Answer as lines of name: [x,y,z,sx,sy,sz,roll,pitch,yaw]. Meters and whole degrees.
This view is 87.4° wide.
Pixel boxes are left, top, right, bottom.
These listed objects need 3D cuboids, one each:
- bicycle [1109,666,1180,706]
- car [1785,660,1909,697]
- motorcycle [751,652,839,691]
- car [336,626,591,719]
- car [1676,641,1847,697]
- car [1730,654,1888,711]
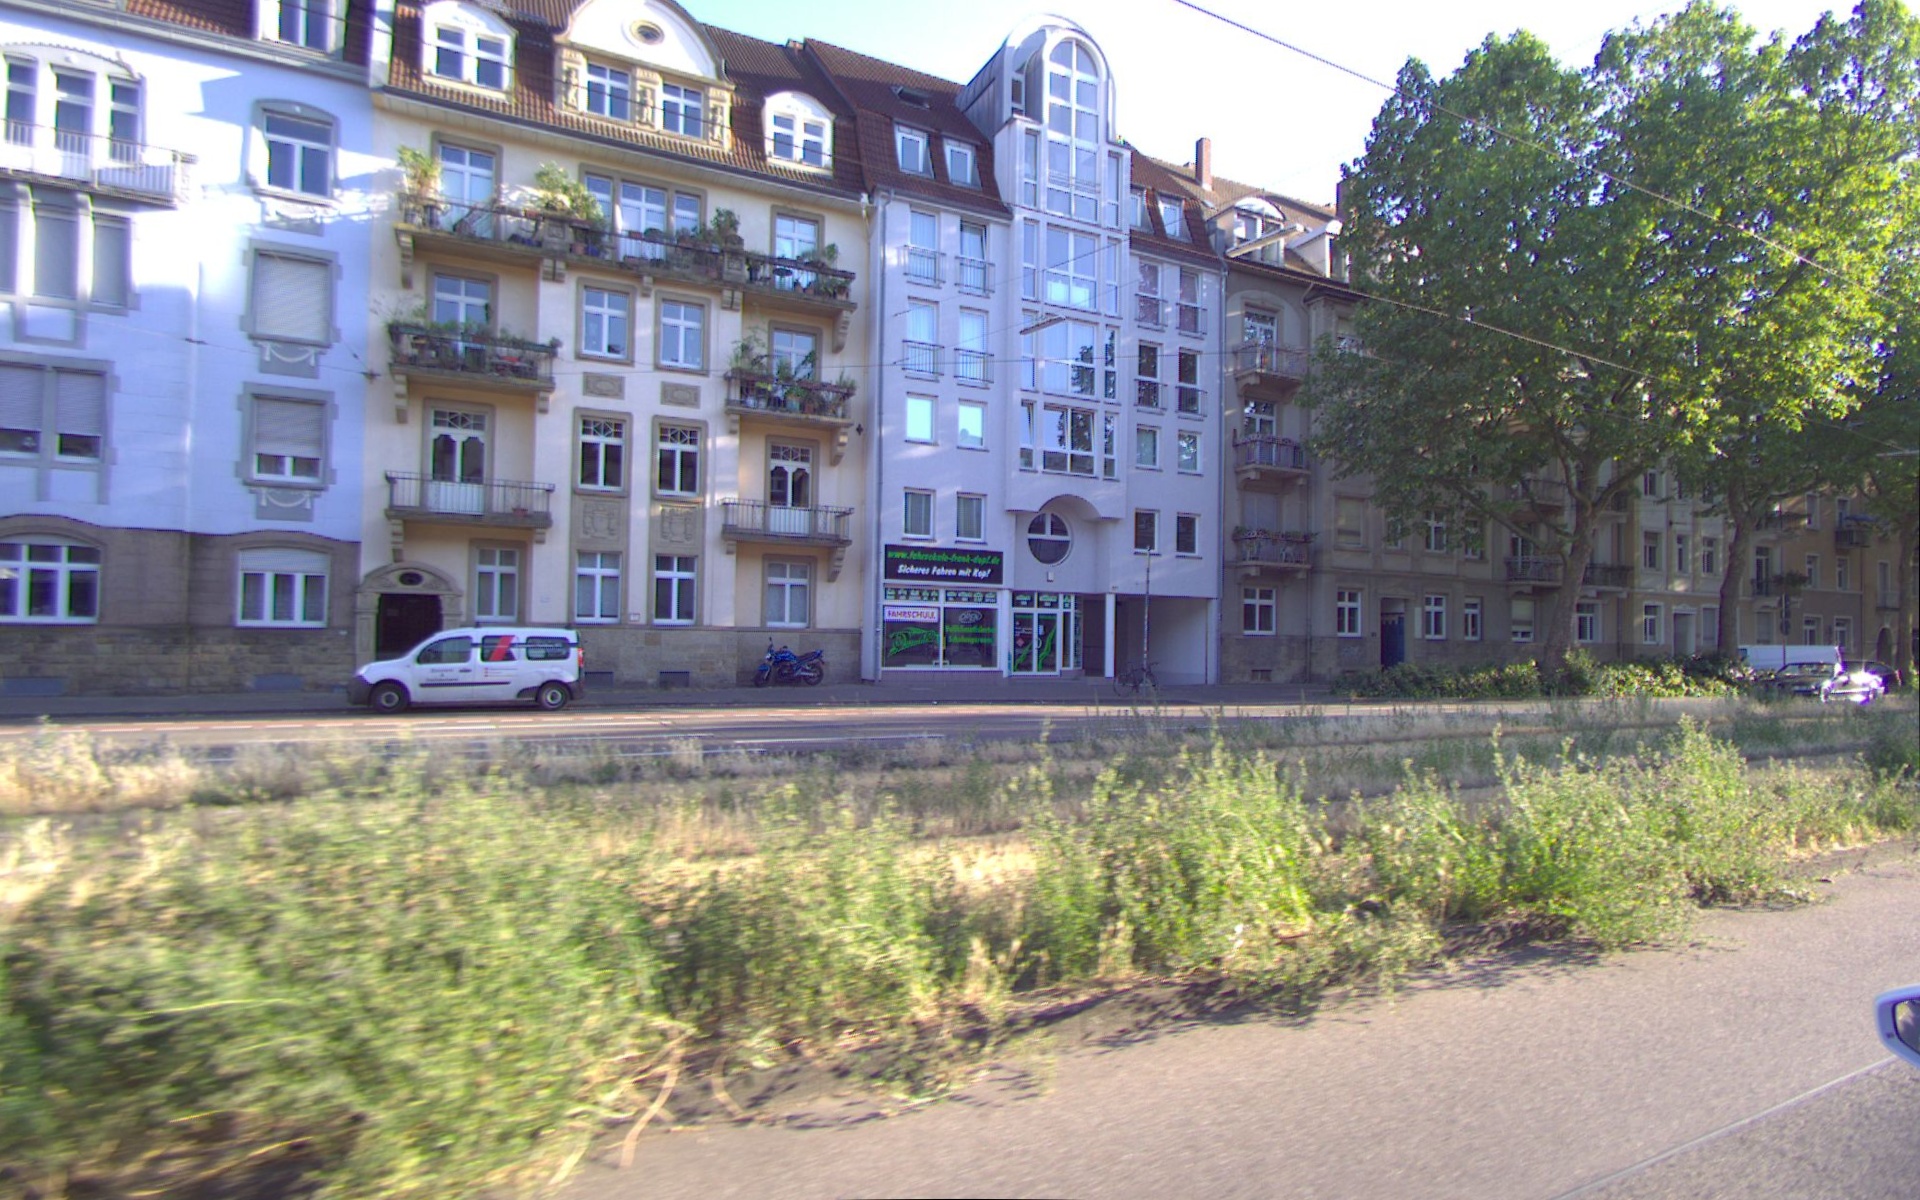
bicycle: [5.433,2.536,29.640,1.862,1.047,0.757,2,3,-13]
car: [38.509,3.396,43.698,3.656,1.440,1.722,0,-2,22]
motorcycle: [-4.645,2.028,28.396,2.389,1.034,0.526,2,0,-28]
car: [-10.371,1.541,21.312,4.591,1.810,1.899,3,-3,-25]
car: [32.511,2.763,40.950,5.144,2.093,1.722,0,-2,22]
car: [24.055,2.317,28.435,4.639,1.505,1.710,2,-5,-27]
